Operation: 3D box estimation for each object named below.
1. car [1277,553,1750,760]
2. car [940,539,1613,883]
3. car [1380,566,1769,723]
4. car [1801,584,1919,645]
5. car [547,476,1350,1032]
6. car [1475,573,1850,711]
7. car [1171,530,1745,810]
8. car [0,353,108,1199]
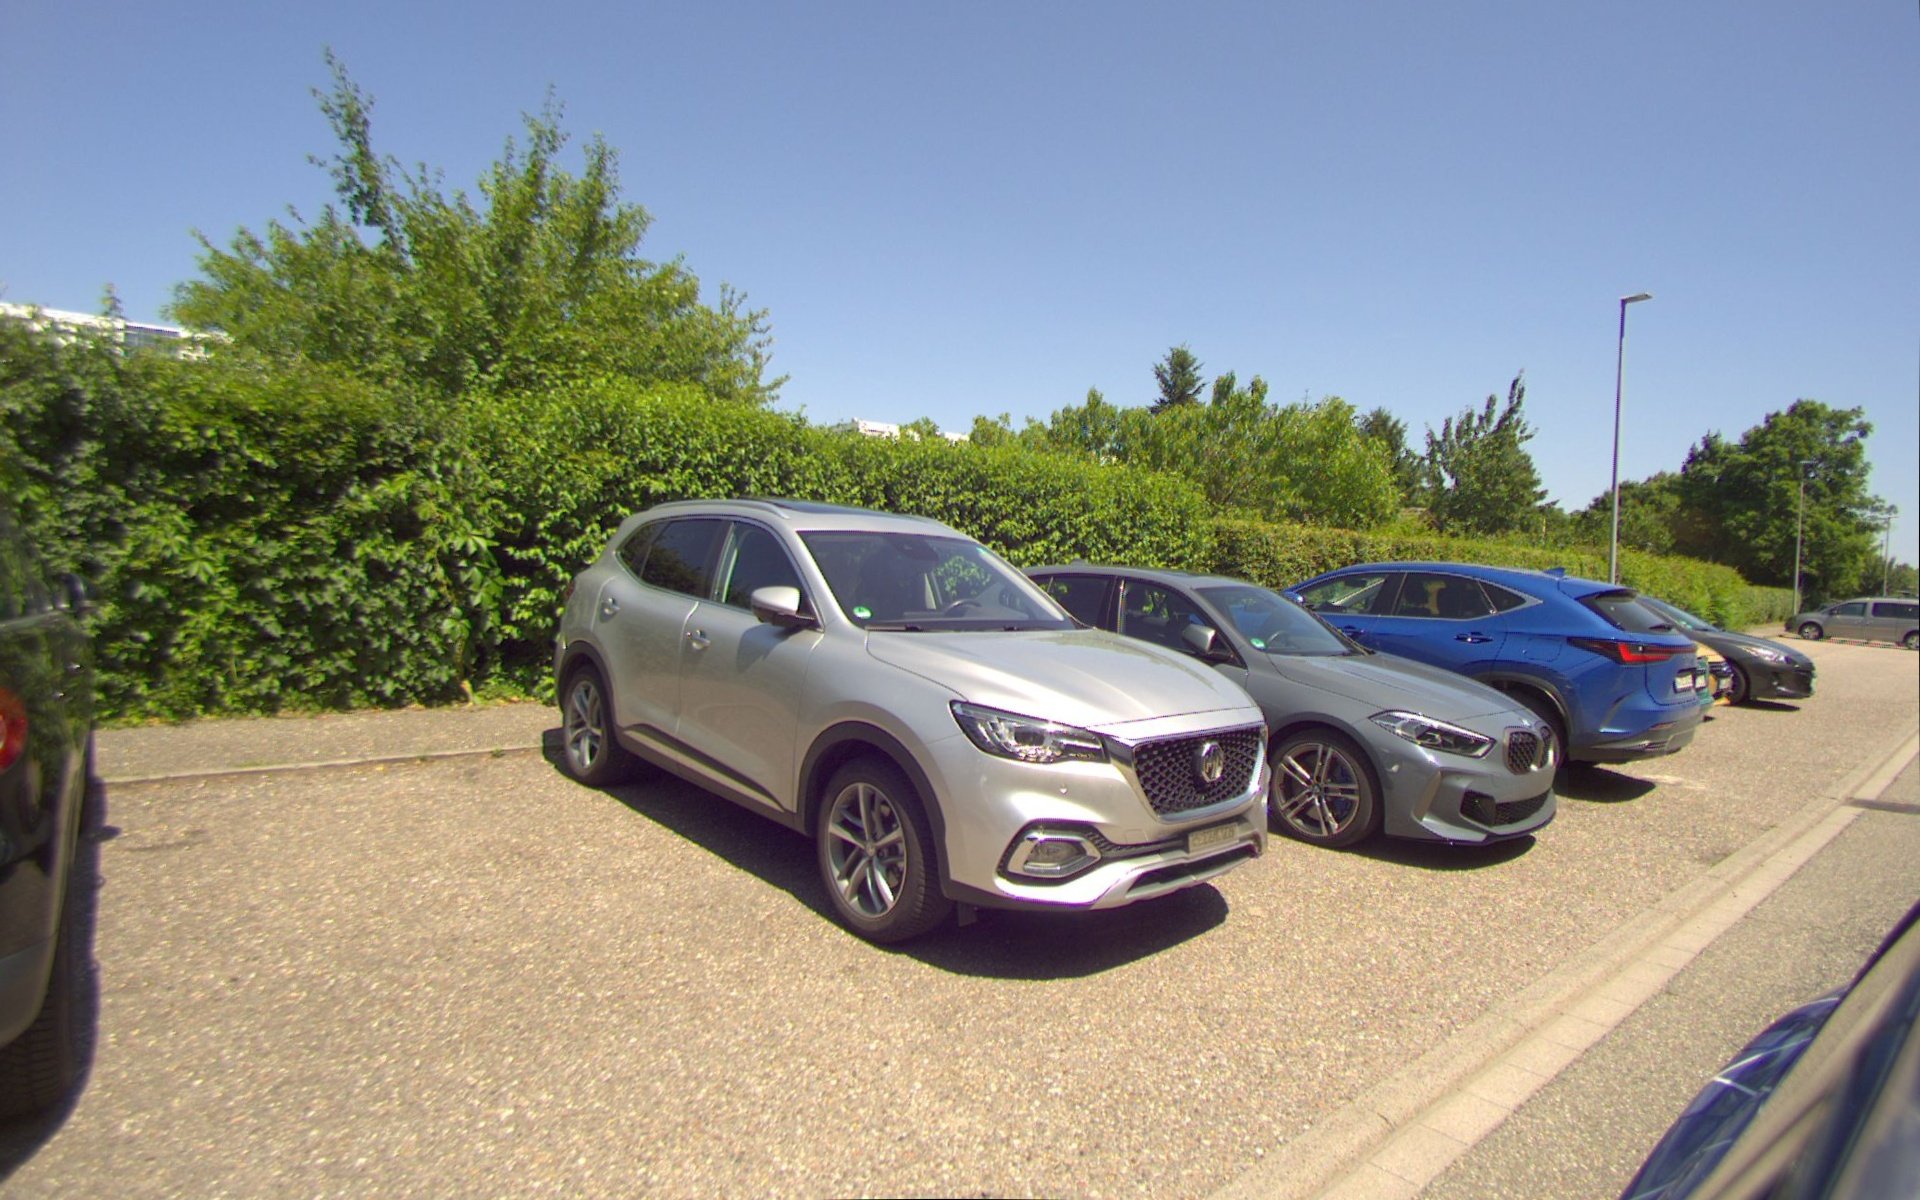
[{"bbox_3d":[5.680,0.427,10.833,1.620,1.532,4.038,1,5,-40],"label":"car"},{"bbox_3d":[1.820,0.446,6.890,1.650,1.425,4.036,1,5,-41],"label":"car"},{"bbox_3d":[7.960,0.457,13.445,1.620,1.463,4.038,1,5,-40],"label":"car"},{"bbox_3d":[34.419,0.568,37.675,1.667,1.872,4.488,1,5,-44],"label":"car"},{"bbox_3d":[-0.456,0.292,5.207,1.745,1.661,4.168,0,5,-42],"label":"car"},{"bbox_3d":[10.285,0.497,15.121,1.620,1.434,4.253,1,5,-40],"label":"car"},{"bbox_3d":[4.013,0.366,8.763,1.644,1.661,4.038,1,5,-40],"label":"car"},{"bbox_3d":[-3.553,0.245,2.830,1.735,1.706,3.983,1,4,-40],"label":"car"}]
